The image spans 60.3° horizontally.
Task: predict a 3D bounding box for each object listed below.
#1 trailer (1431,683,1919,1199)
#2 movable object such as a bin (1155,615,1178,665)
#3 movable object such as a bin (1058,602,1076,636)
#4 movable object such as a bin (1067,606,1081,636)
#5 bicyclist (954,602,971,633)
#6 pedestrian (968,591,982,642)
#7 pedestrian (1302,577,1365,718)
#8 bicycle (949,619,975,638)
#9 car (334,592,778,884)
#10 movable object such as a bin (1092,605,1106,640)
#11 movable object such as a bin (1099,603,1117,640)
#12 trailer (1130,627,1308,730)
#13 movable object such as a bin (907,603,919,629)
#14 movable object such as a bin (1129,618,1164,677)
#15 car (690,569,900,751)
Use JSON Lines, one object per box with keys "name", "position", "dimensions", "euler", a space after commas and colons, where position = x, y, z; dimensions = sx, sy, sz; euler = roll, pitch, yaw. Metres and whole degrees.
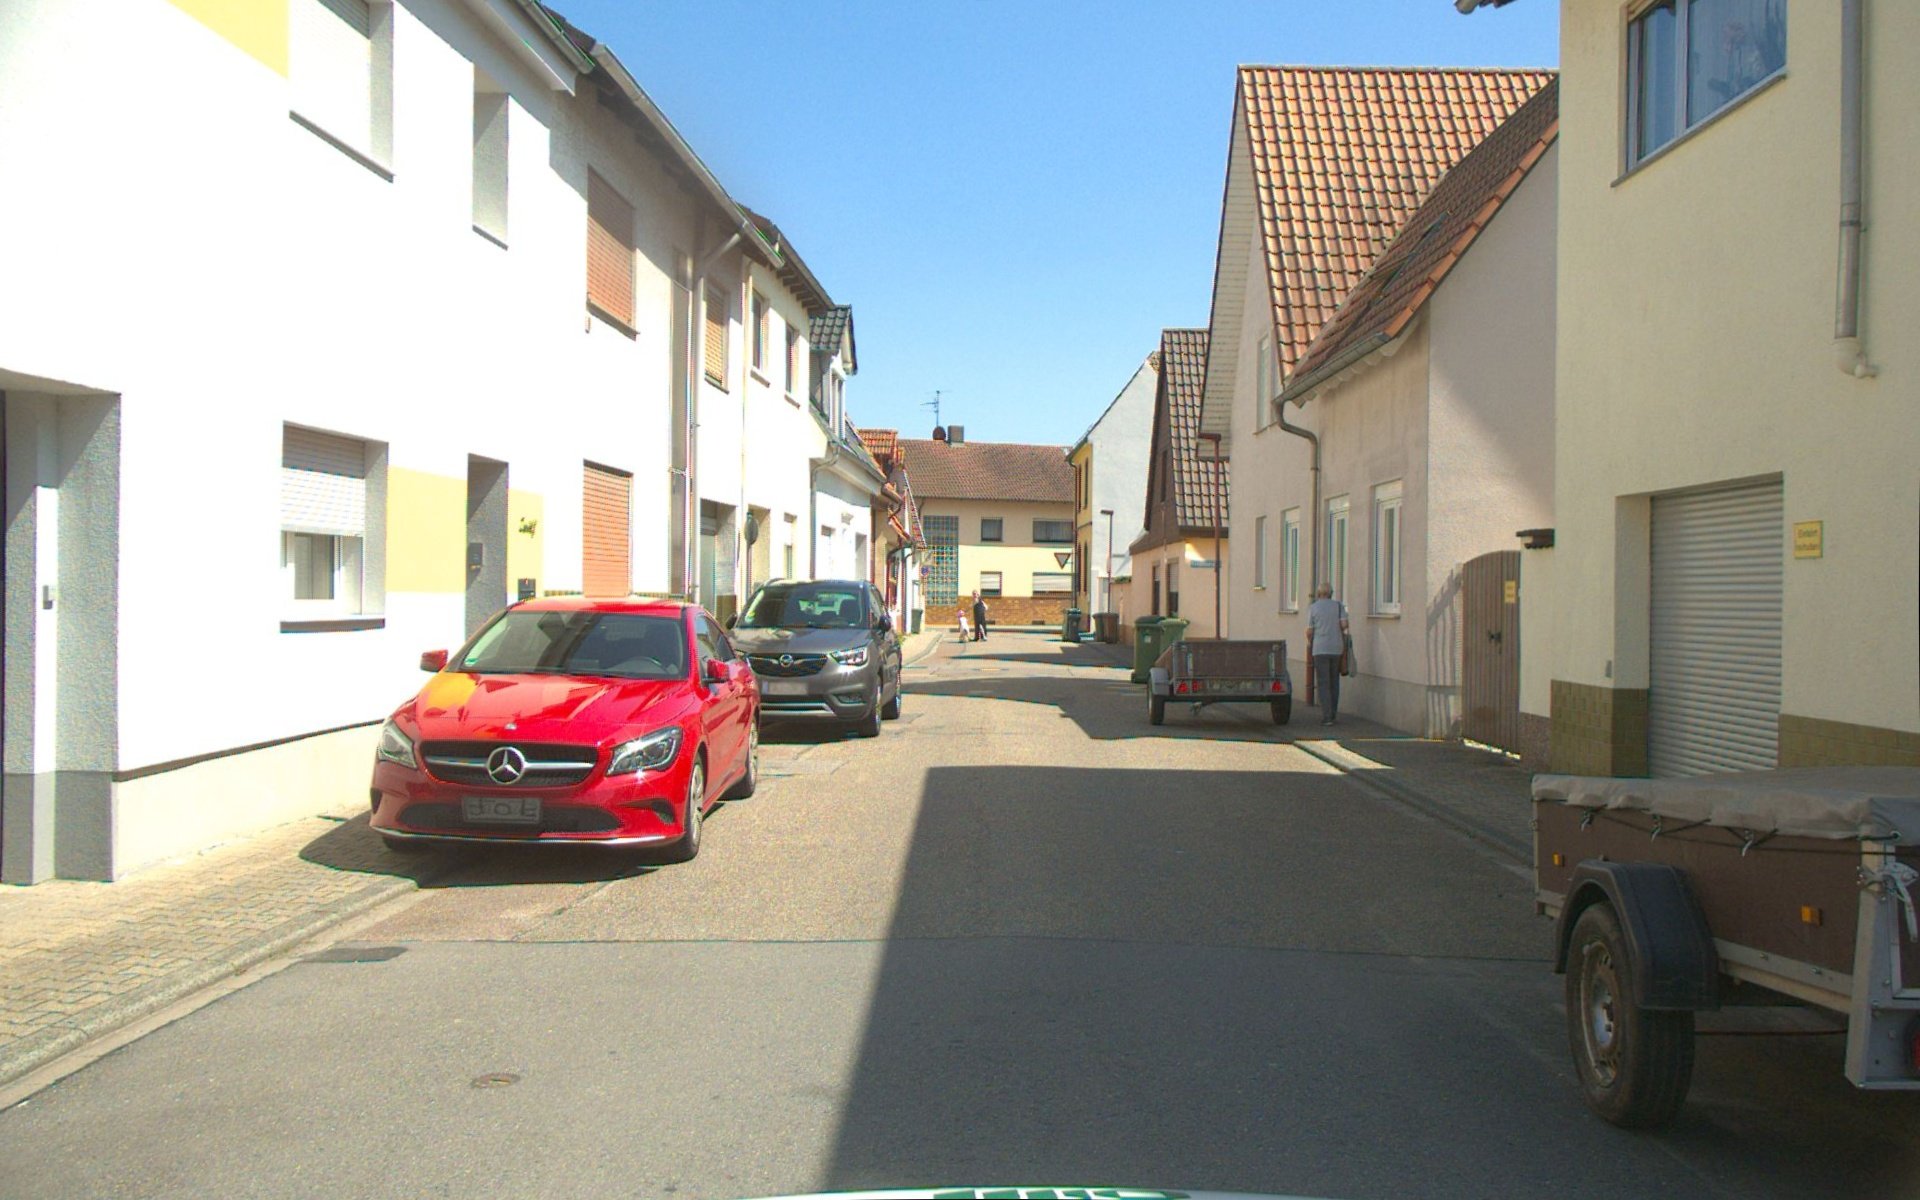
{"name": "trailer", "position": [2.755, 0.911, 4.976], "dimensions": [1.779, 1.109, 3.482], "euler": [0, 0, 2]}
{"name": "movable object such as a bin", "position": [4.568, 0.882, 36.577], "dimensions": [0.448, 1.106, 0.502], "euler": [0, 0, 0]}
{"name": "movable object such as a bin", "position": [3.610, 0.626, 55.655], "dimensions": [0.557, 1.147, 0.453], "euler": [0, 0, -1]}
{"name": "movable object such as a bin", "position": [3.800, 0.701, 55.043], "dimensions": [0.415, 0.992, 0.473], "euler": [0, 0, -1]}
{"name": "bicyclist", "position": [0.075, 0.551, 52.874], "dimensions": [0.456, 0.976, 0.349], "euler": [0, -1, -27]}
{"name": "pedestrian", "position": [0.475, 0.544, 53.442], "dimensions": [0.404, 1.638, 0.367], "euler": [0, 0, -9]}
{"name": "pedestrian", "position": [4.289, 0.554, 19.017], "dimensions": [0.583, 1.592, 0.557], "euler": [0, -4, -1]}
{"name": "bicycle", "position": [0.062, 0.916, 52.893], "dimensions": [0.436, 0.577, 0.931], "euler": [0, 0, -27]}
{"name": "car", "position": [-2.279, 0.693, 10.579], "dimensions": [1.763, 1.466, 4.487], "euler": [0, 0, 0]}
{"name": "movable object such as a bin", "position": [4.566, 0.736, 54.468], "dimensions": [0.417, 1.147, 0.414], "euler": [0, 0, -1]}
{"name": "movable object such as a bin", "position": [4.652, 0.663, 51.900], "dimensions": [0.514, 1.147, 0.366], "euler": [0, 0, -1]}
{"name": "trailer", "position": [3.039, 0.894, 20.008], "dimensions": [1.664, 1.051, 3.482], "euler": [0, 0, 1]}
{"name": "movable object such as a bin", "position": [-1.735, 0.594, 61.170], "dimensions": [0.439, 0.937, 0.404], "euler": [0, 0, -1]}
{"name": "movable object such as a bin", "position": [3.386, 0.859, 30.132], "dimensions": [0.573, 1.051, 0.595], "euler": [0, 0, 0]}
{"name": "car", "position": [-1.687, 0.584, 18.321], "dimensions": [1.763, 1.733, 4.488], "euler": [-1, 0, 1]}
